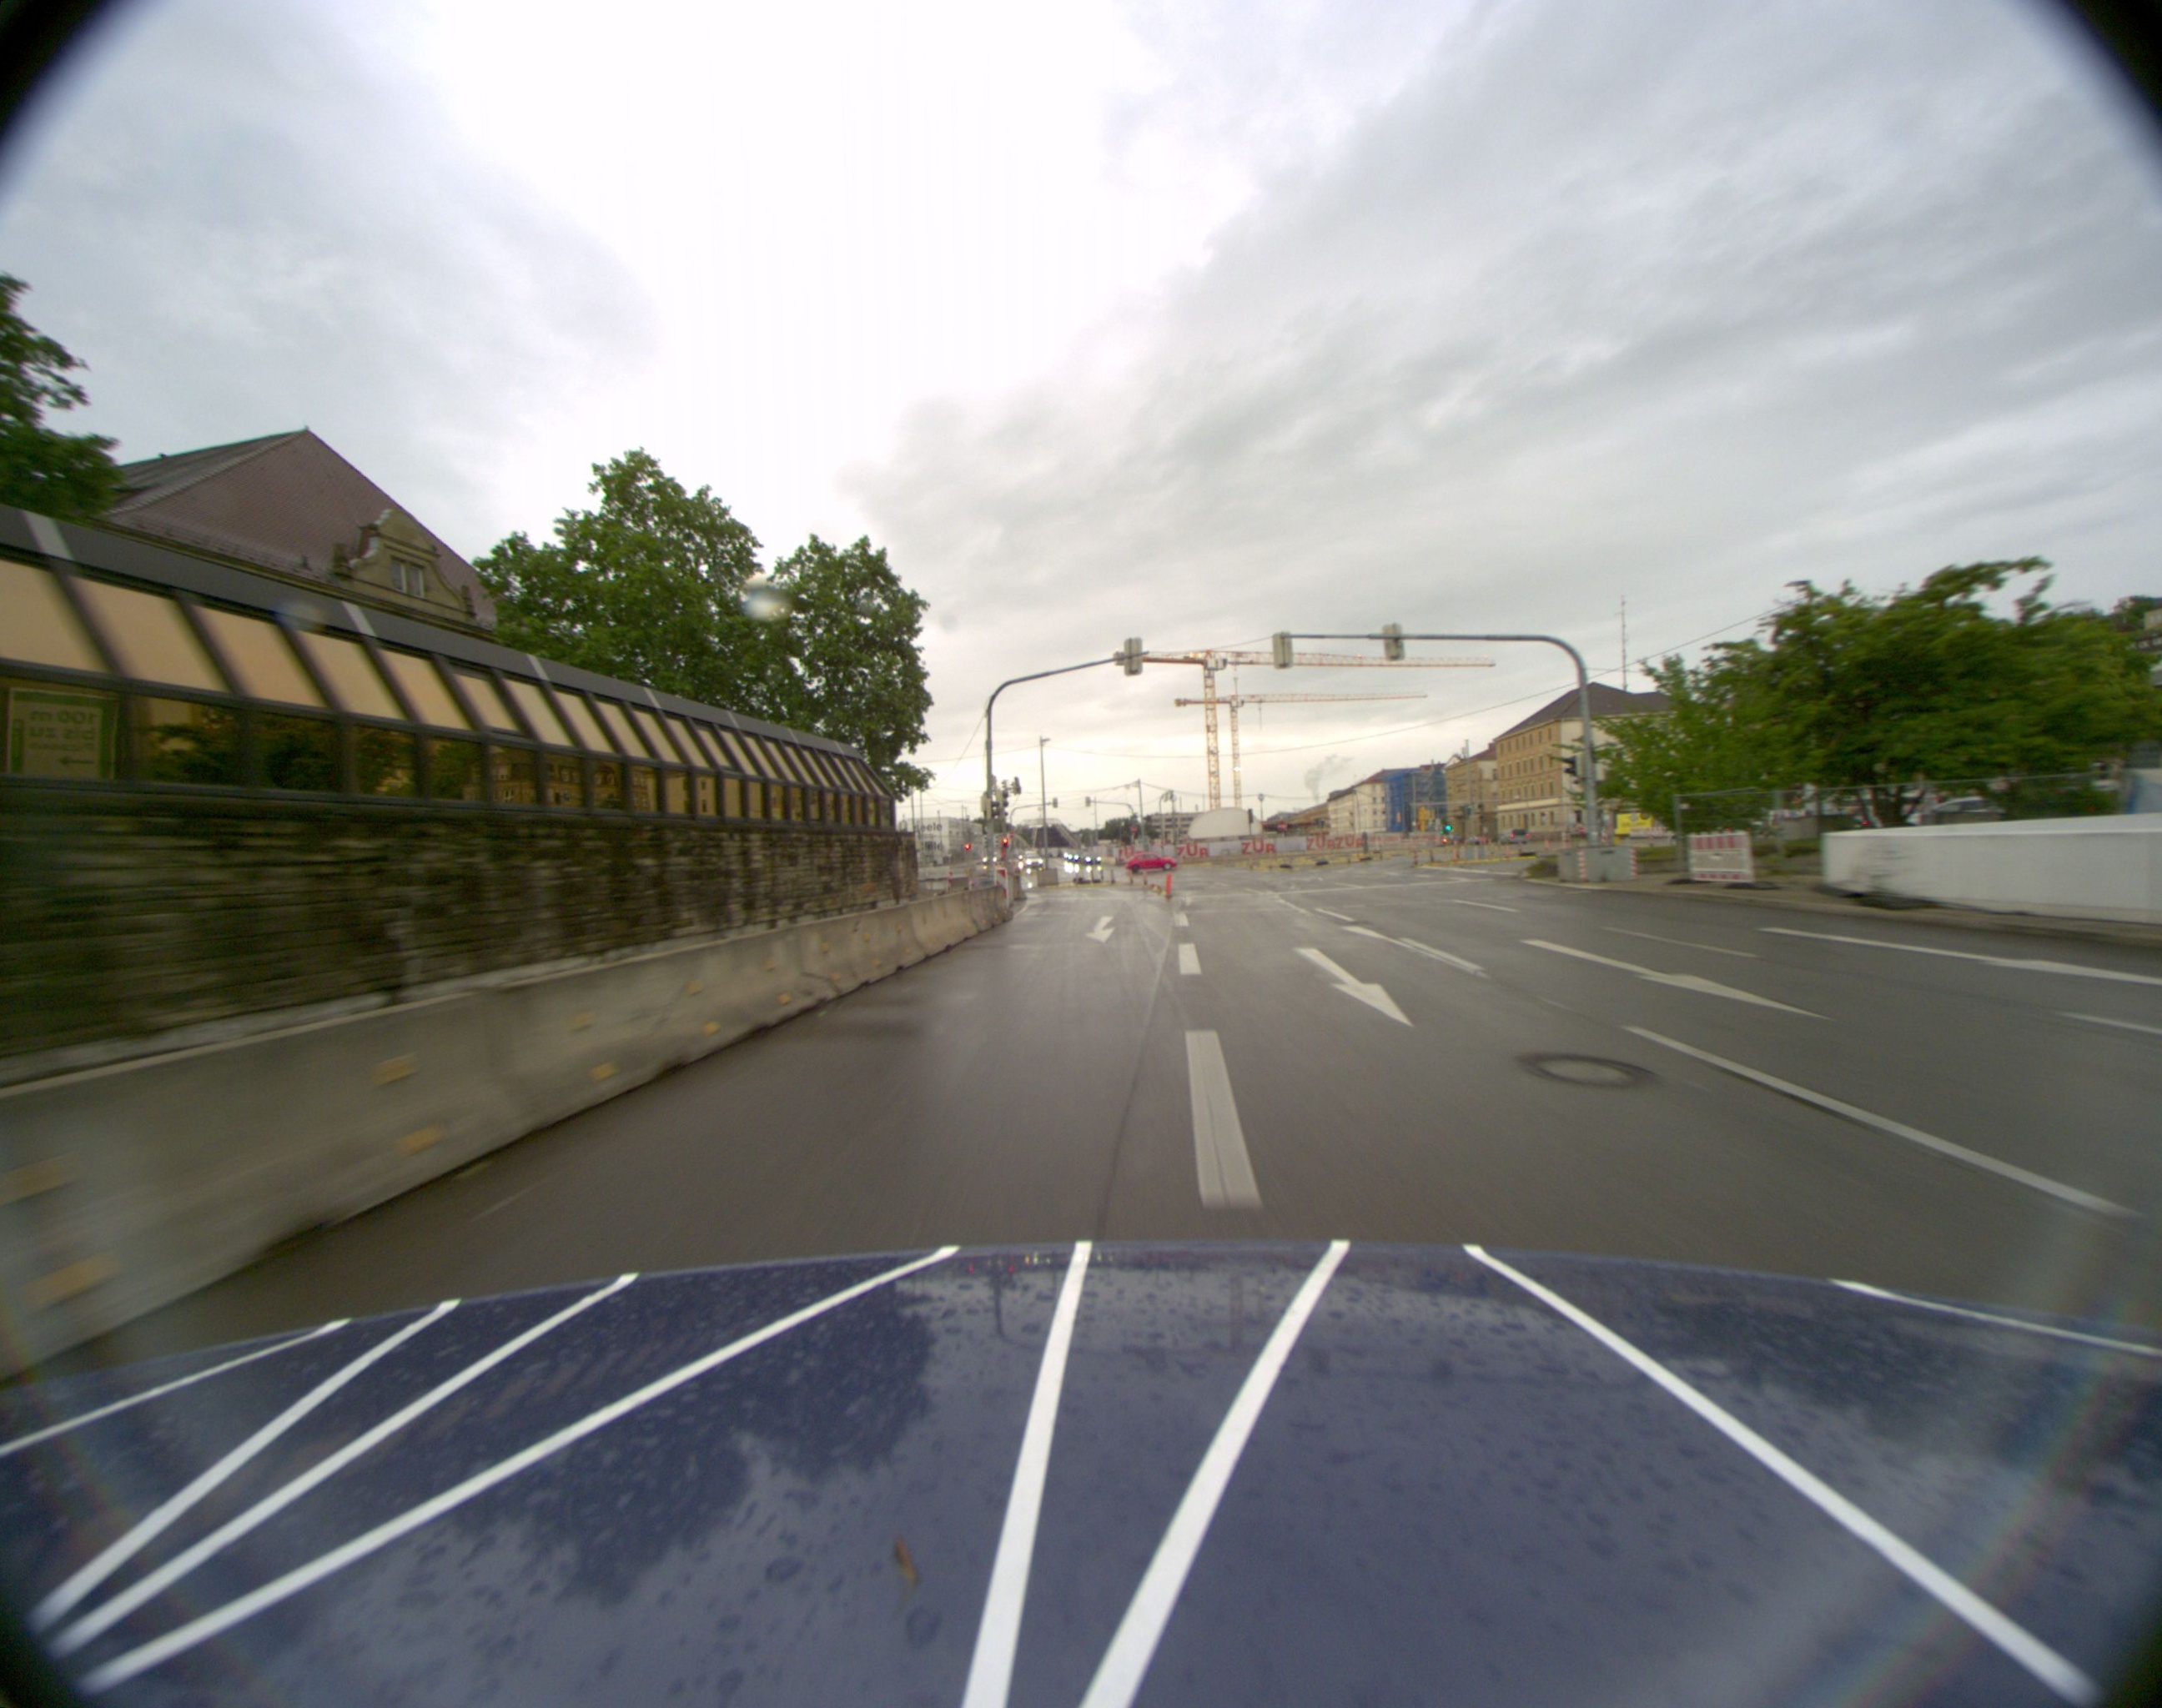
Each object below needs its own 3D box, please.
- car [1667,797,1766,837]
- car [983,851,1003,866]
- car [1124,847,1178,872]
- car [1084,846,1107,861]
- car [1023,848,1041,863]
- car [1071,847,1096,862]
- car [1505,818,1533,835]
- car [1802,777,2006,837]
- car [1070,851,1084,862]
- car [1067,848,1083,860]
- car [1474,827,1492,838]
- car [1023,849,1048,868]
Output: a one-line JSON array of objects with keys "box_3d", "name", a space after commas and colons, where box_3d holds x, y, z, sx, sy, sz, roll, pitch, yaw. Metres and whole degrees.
[{"box_3d": [36.252, -2.100, 43.531, 1.998, 2.002, 4.642, -5, 2, 6], "name": "car"}, {"box_3d": [-11.640, 0.580, 100.281, 1.998, 1.761, 4.356, -5, 1, 0], "name": "car"}, {"box_3d": [5.414, 0.405, 59.205, 3.996, 1.543, 1.691, -5, 1, 2], "name": "car"}, {"box_3d": [1.629, -0.038, 88.965, 1.861, 1.557, 3.798, -5, 1, -10], "name": "car"}, {"box_3d": [-6.186, 0.163, 95.483, 1.999, 1.761, 4.354, -5, 1, -5], "name": "car"}, {"box_3d": [0.273, 0.055, 94.549, 2.001, 1.707, 4.418, -5, 1, -14], "name": "car"}, {"box_3d": [52.234, -3.279, 90.650, 1.996, 1.828, 4.688, -4, 2, 19], "name": "car"}, {"box_3d": [35.595, -1.965, 33.172, 2.371, 2.161, 5.678, -5, 2, -6], "name": "car"}, {"box_3d": [-0.528, 0.328, 101.863, 1.650, 1.172, 4.287, -4, 2, -2], "name": "car"}, {"box_3d": [-0.931, -0.018, 108.705, 1.999, 1.548, 4.523, -5, 1, -3], "name": "car"}, {"box_3d": [59.638, -3.218, 112.818, 1.580, 1.340, 3.809, -4, 3, 17], "name": "car"}, {"box_3d": [-5.291, 0.493, 87.808, 2.001, 2.002, 4.418, -5, 1, -14], "name": "car"}]
